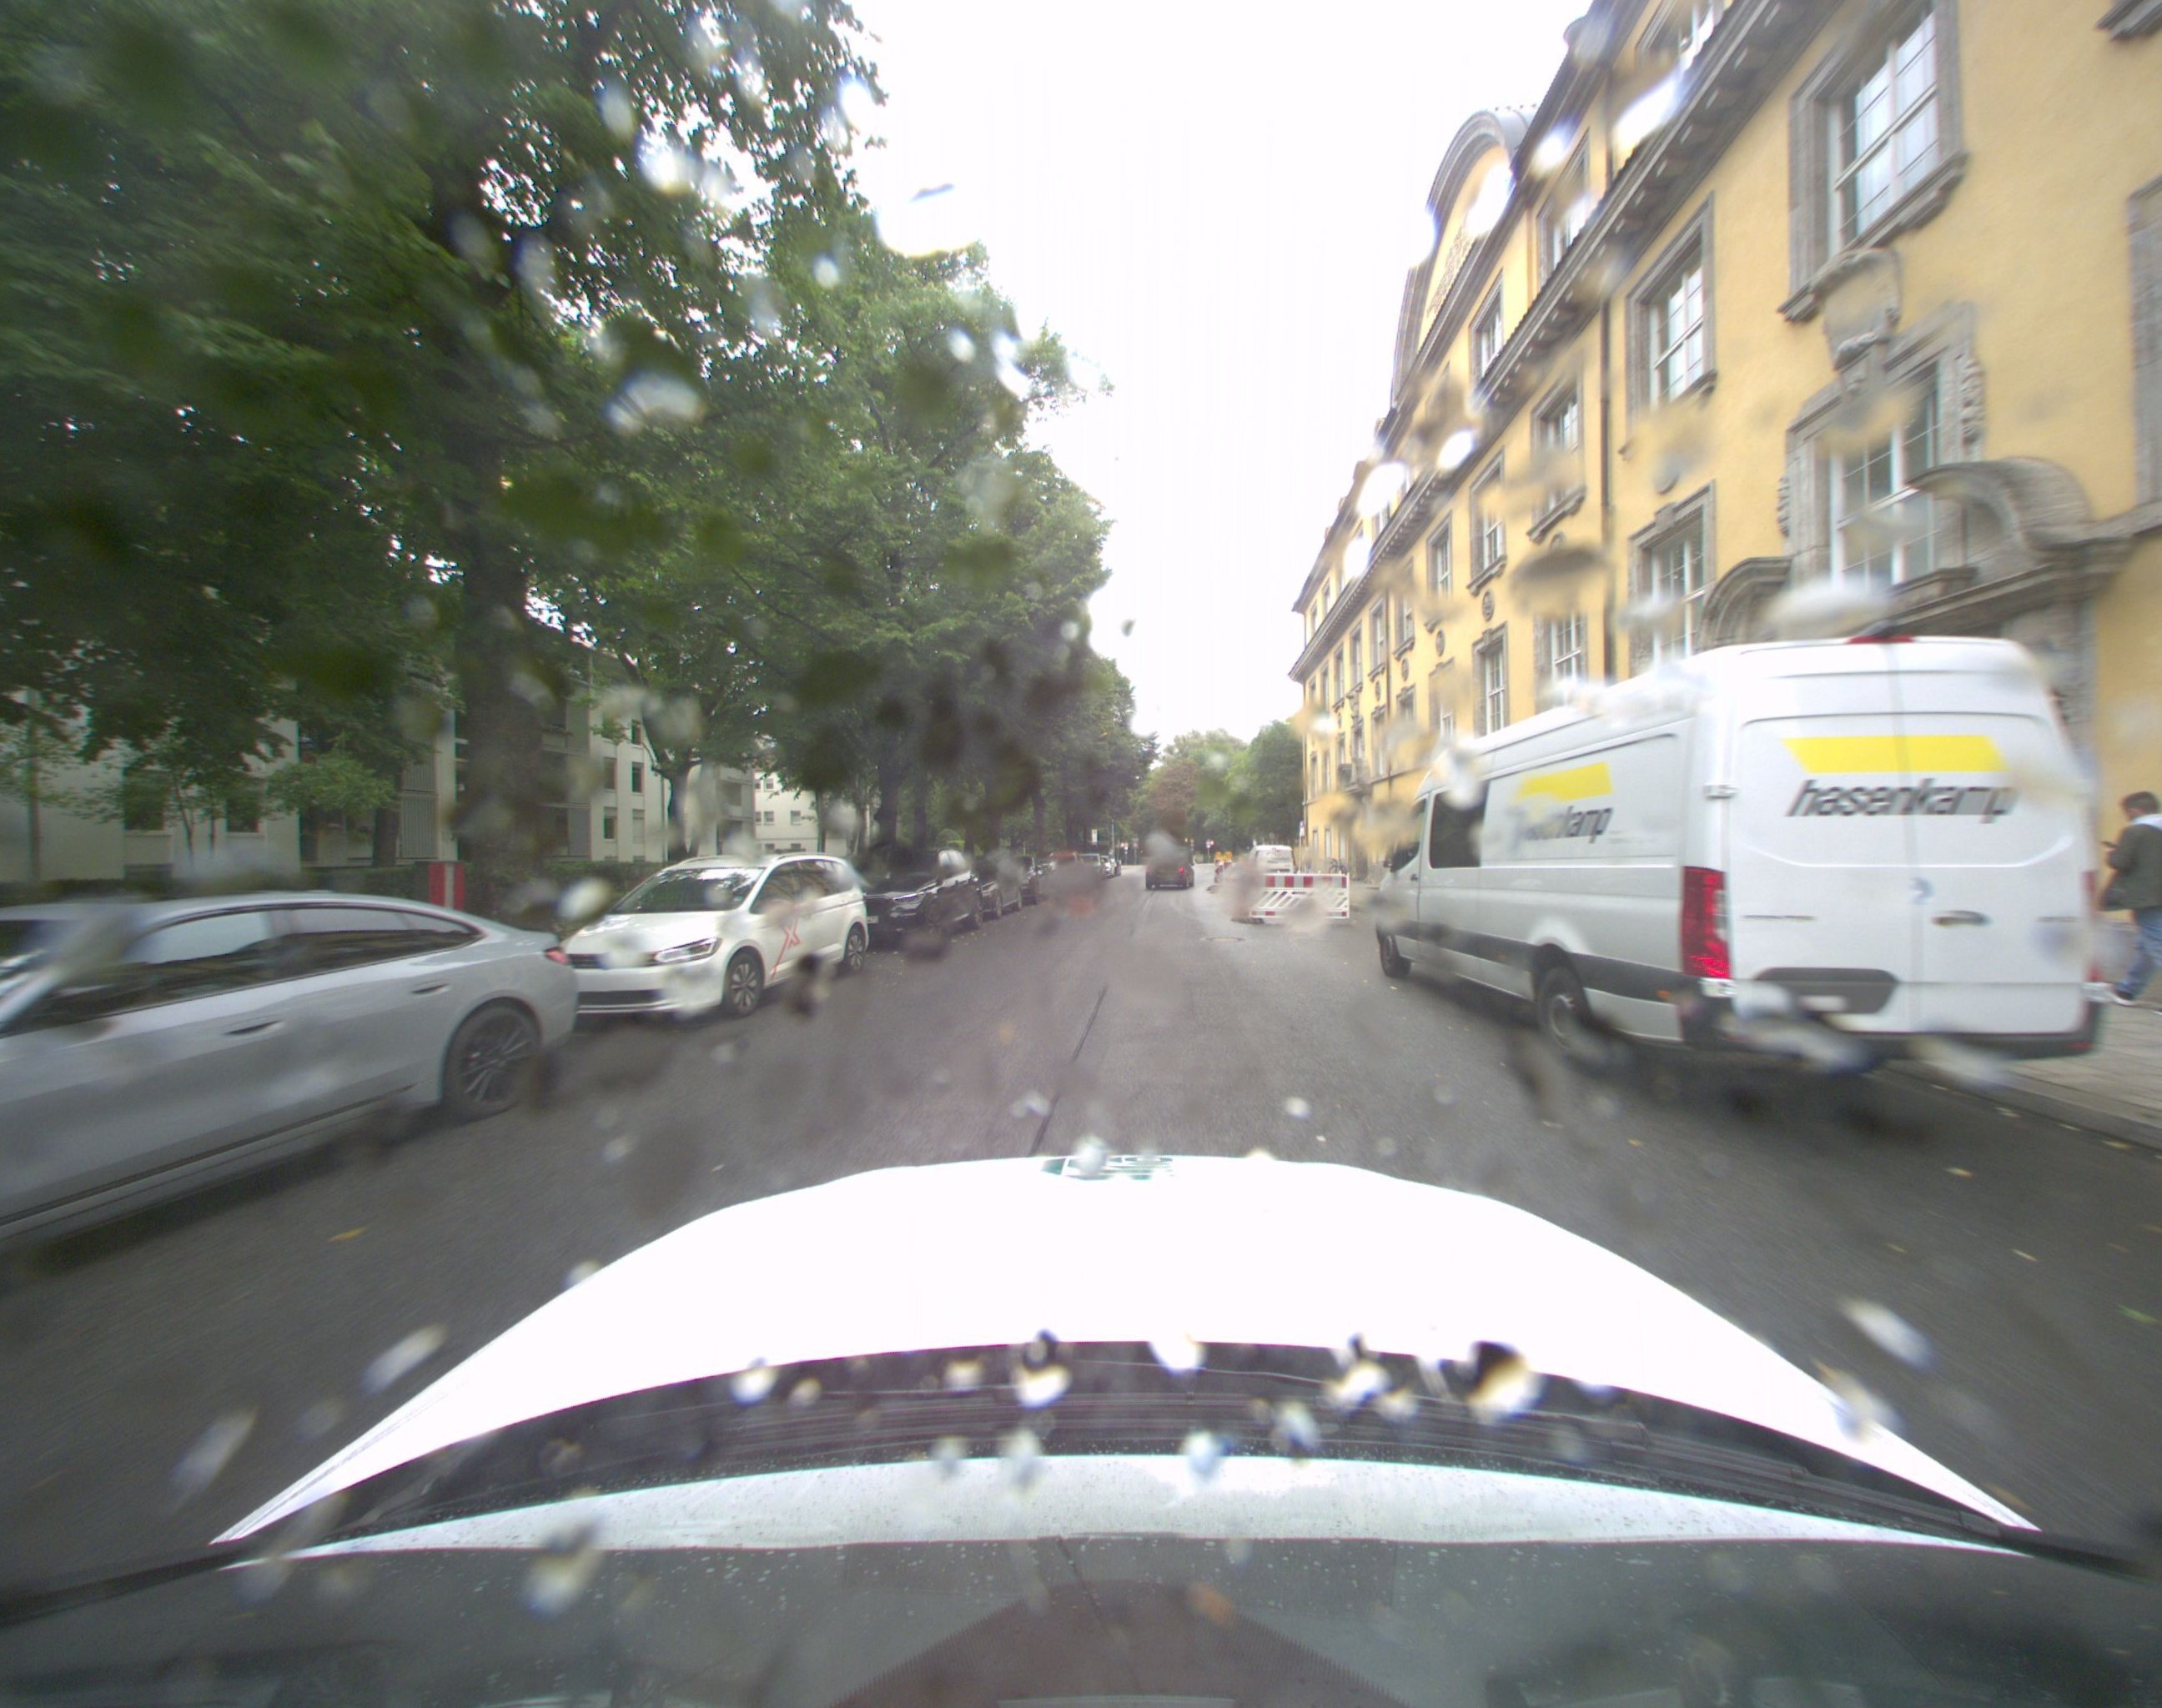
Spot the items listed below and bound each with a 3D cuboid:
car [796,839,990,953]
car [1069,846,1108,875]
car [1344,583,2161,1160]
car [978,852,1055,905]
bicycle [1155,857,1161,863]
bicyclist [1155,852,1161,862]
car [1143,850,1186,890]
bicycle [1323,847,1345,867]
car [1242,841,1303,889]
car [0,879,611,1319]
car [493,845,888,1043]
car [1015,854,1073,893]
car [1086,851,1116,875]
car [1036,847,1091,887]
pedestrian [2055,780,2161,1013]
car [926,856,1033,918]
[{"bbox_3d":[-3.363,0.687,15.775,1.983,1.797,4.930,-2,0,7],"label":"car"},{"bbox_3d":[0.481,0.360,47.278,1.806,1.601,4.521,-1,0,6],"label":"car"},{"bbox_3d":[4.460,0.104,7.627,2.045,2.673,7.623,-1,0,4],"label":"car"},{"bbox_3d":[-2.059,0.740,27.206,1.777,1.574,4.493,-1,0,6],"label":"car"},{"bbox_3d":[11.662,0.913,123.139,0.678,0.830,2.108,-1,-1,-2],"label":"bicycle"},{"bbox_3d":[11.631,0.424,123.290,0.679,1.504,0.900,-1,0,-2],"label":"bicyclist"},{"bbox_3d":[3.628,0.653,34.939,1.568,1.584,4.055,-1,0,10],"label":"car"},{"bbox_3d":[13.347,0.175,42.997,0.676,1.006,2.061,-1,0,6],"label":"bicycle"},{"bbox_3d":[7.457,0.436,32.041,1.731,1.750,4.362,-1,-1,5],"label":"car"},{"bbox_3d":[-4.666,0.930,3.654,1.800,1.469,5.005,-1,0,6],"label":"car"},{"bbox_3d":[-3.929,0.787,9.271,1.755,1.622,4.532,-4,-1,8],"label":"car"},{"bbox_3d":[-1.434,0.745,32.880,1.719,1.422,4.258,-1,0,6],"label":"car"},{"bbox_3d":[1.349,0.555,52.742,1.569,1.497,4.207,-1,0,6],"label":"car"},{"bbox_3d":[-0.760,0.564,38.452,1.862,1.728,4.651,-1,0,7],"label":"car"},{"bbox_3d":[8.655,0.321,6.600,0.697,1.804,0.584,-3,-1,5],"label":"pedestrian"},{"bbox_3d":[-2.571,0.806,21.827,1.709,1.451,4.705,-1,0,7],"label":"car"}]
